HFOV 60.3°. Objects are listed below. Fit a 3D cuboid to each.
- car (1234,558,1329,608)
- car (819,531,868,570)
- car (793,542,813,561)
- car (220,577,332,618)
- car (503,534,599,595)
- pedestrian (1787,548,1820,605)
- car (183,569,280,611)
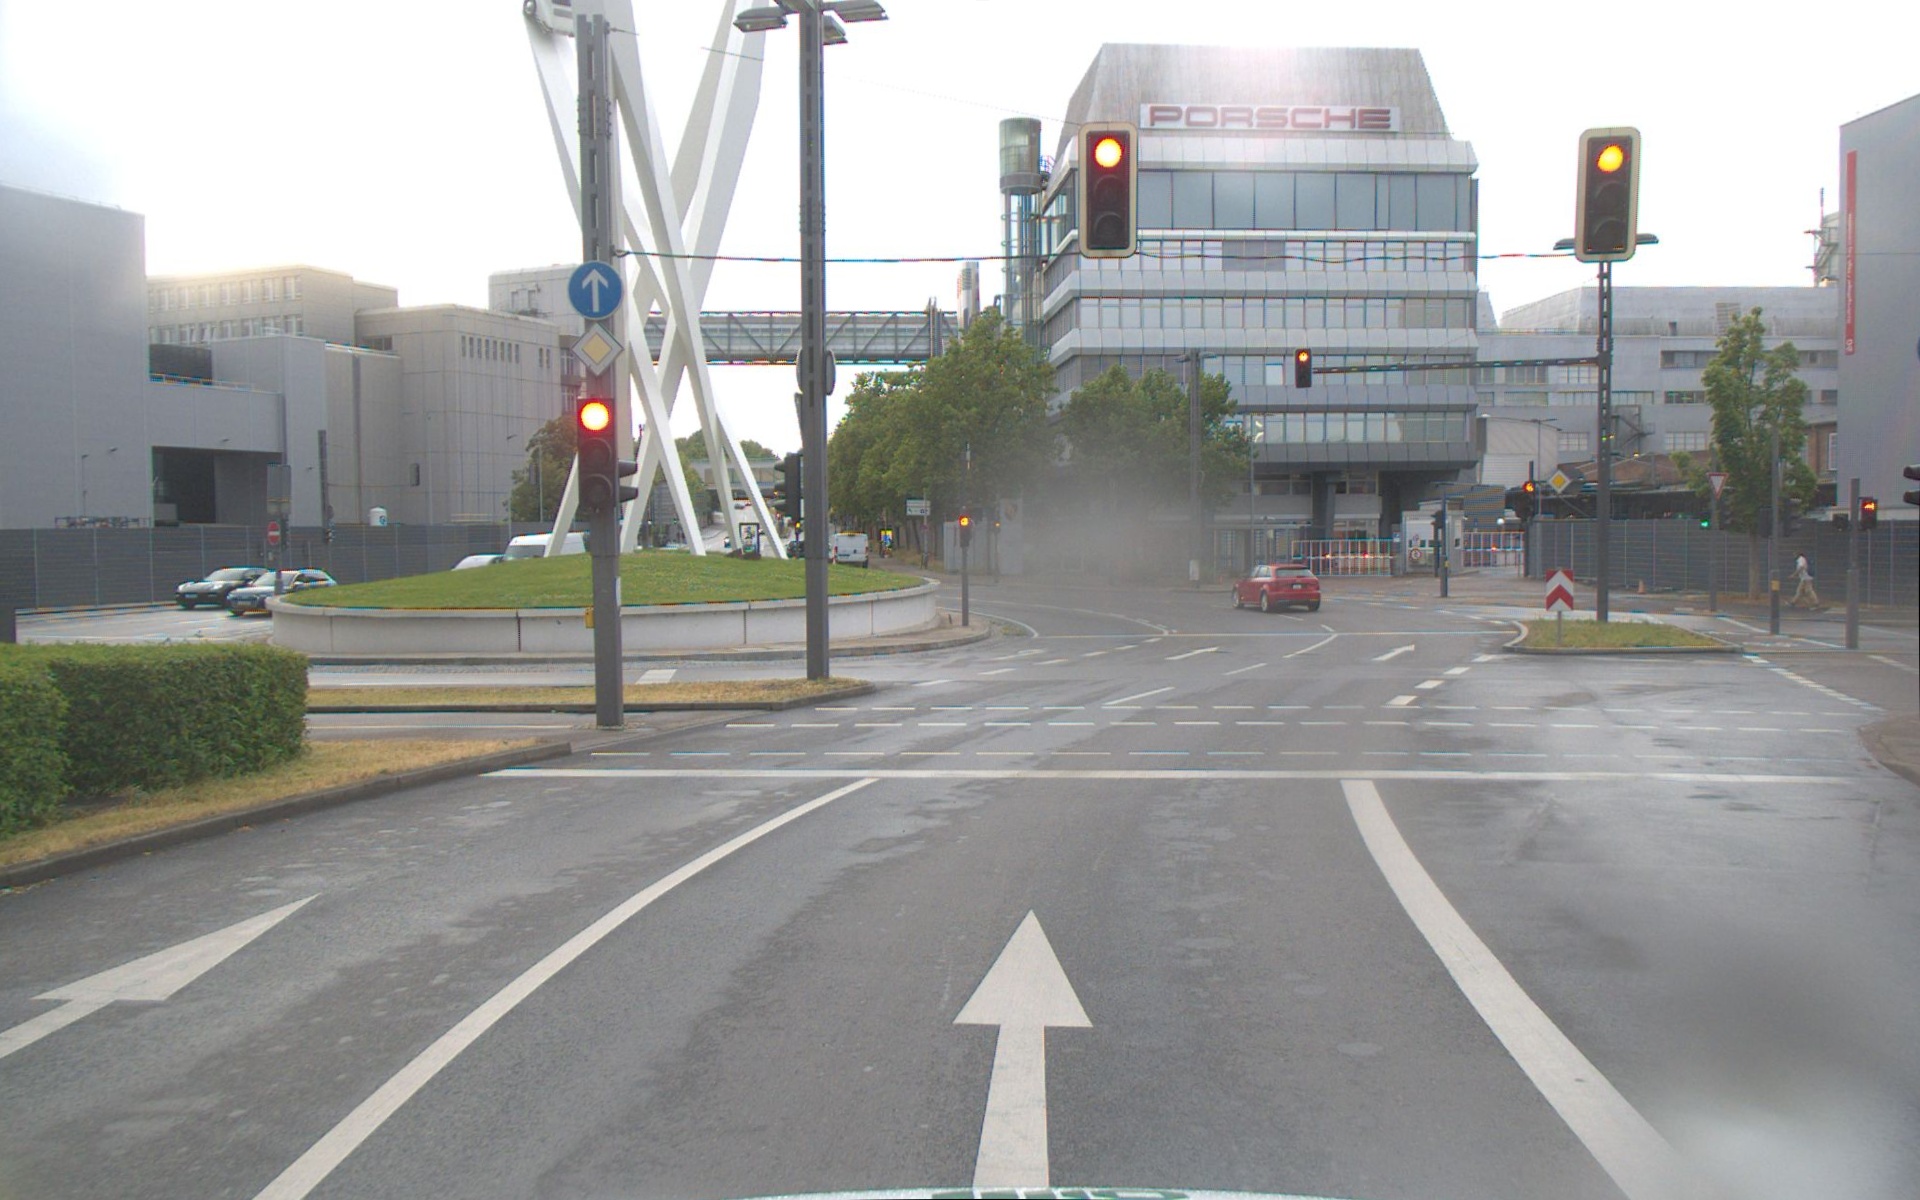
[{"bbox_3d":[9.935,-0.509,51.372,1.740,1.490,3.725,0,0,-9],"label":"car"},{"bbox_3d":[-6.979,-2.911,98.697,2.194,2.144,4.937,0,0,-13],"label":"car"},{"bbox_3d":[-12.304,-3.779,129.436,1.526,1.311,3.410,0,0,-5],"label":"car"},{"bbox_3d":[-23.747,-0.109,57.553,1.806,1.361,4.004,0,1,8],"label":"car"},{"bbox_3d":[-17.423,-1.505,70.752,1.951,2.490,5.432,-1,1,10],"label":"car"},{"bbox_3d":[24.468,-0.664,48.010,0.792,1.639,0.769,-1,-1,24],"label":"pedestrian"},{"bbox_3d":[-27.390,-0.386,62.352,1.796,1.498,4.511,0,1,-3],"label":"car"}]
